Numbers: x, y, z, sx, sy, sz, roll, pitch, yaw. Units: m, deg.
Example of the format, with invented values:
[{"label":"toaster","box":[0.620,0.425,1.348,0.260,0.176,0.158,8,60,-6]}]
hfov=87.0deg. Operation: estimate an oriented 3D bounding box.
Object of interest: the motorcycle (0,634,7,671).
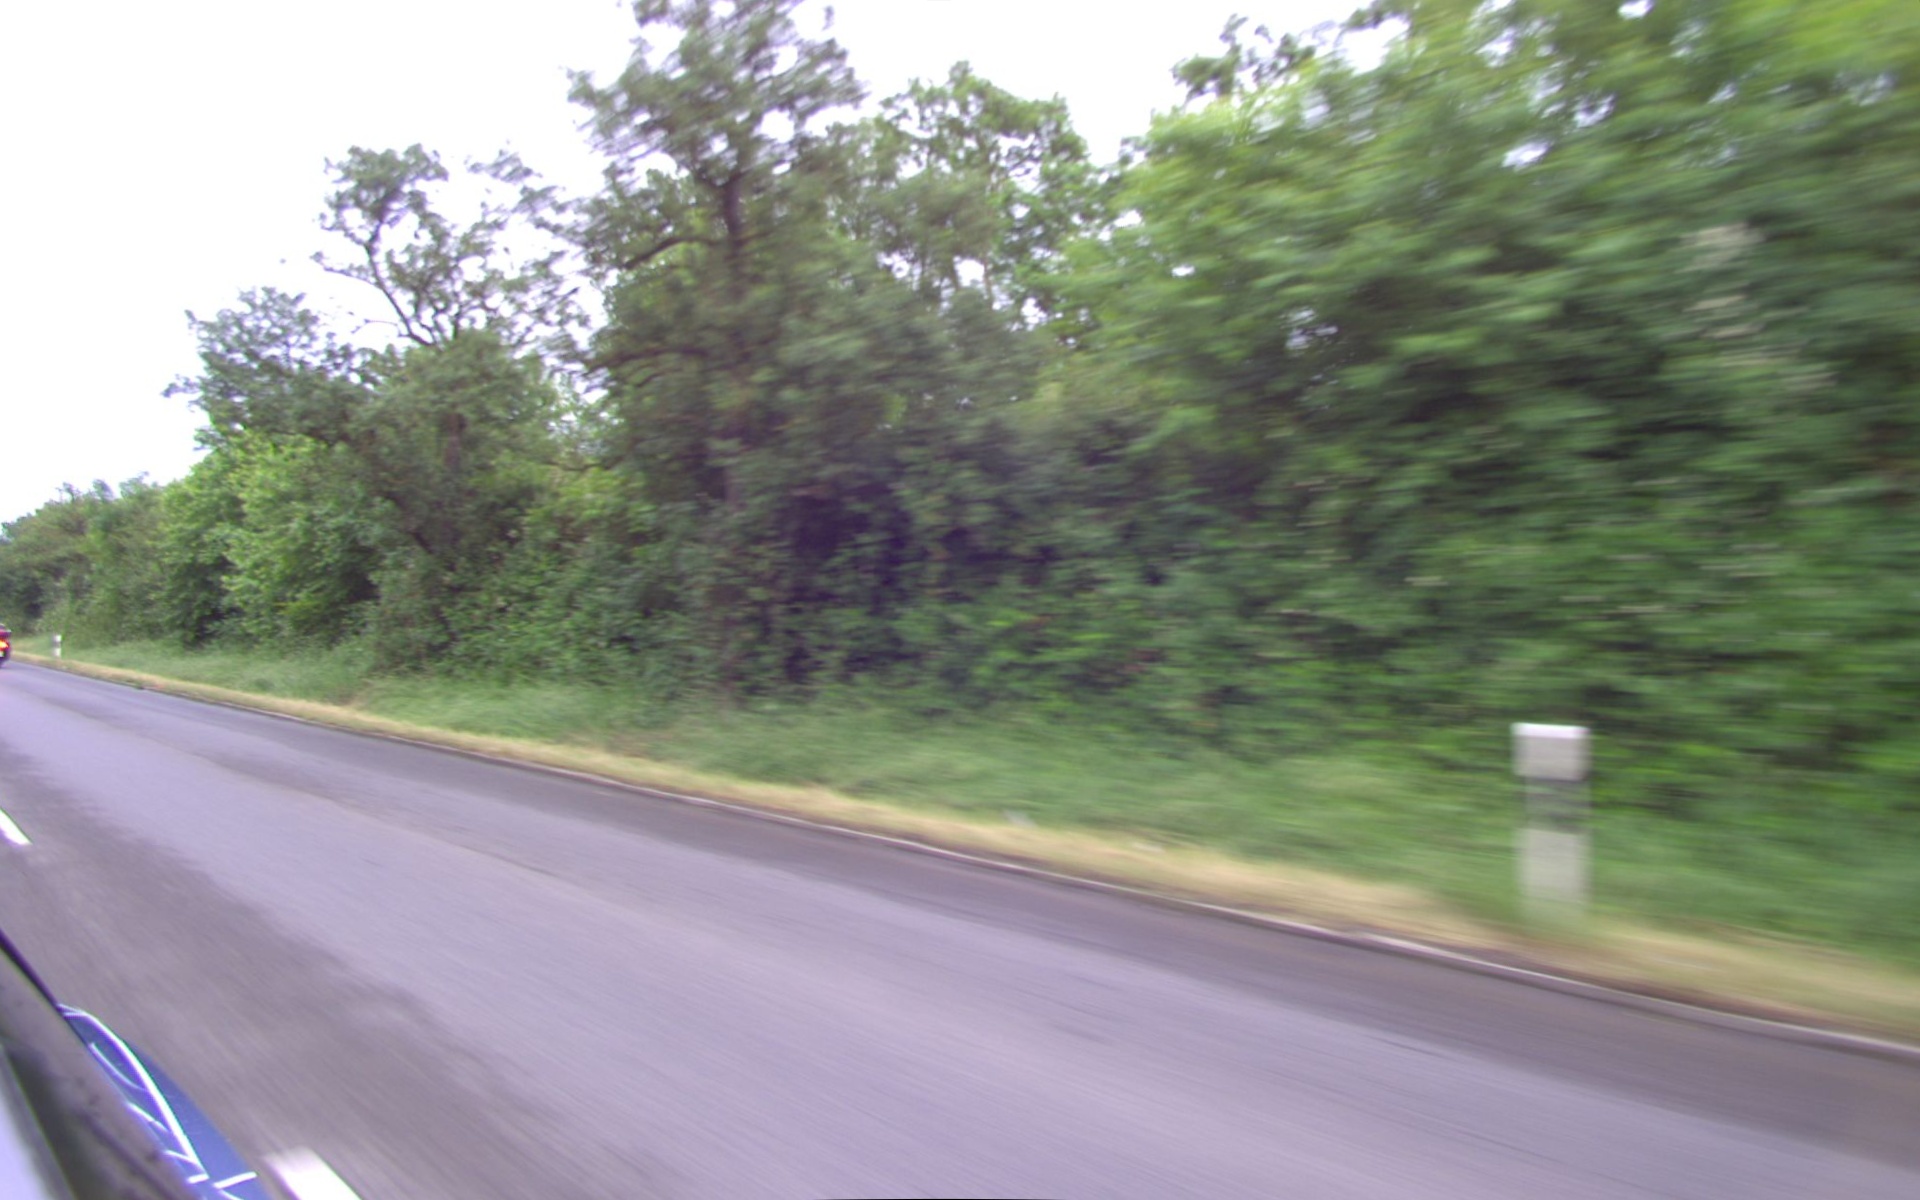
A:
[{"label":"motorcycle","box":[-32.860,1.760,34.205,2.100,1.207,0.658,-1,-4,41]}]

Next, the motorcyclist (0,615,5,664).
[{"label":"motorcyclist","box":[-32.681,1.323,34.059,0.667,1.666,0.688,-1,-2,41]}]
